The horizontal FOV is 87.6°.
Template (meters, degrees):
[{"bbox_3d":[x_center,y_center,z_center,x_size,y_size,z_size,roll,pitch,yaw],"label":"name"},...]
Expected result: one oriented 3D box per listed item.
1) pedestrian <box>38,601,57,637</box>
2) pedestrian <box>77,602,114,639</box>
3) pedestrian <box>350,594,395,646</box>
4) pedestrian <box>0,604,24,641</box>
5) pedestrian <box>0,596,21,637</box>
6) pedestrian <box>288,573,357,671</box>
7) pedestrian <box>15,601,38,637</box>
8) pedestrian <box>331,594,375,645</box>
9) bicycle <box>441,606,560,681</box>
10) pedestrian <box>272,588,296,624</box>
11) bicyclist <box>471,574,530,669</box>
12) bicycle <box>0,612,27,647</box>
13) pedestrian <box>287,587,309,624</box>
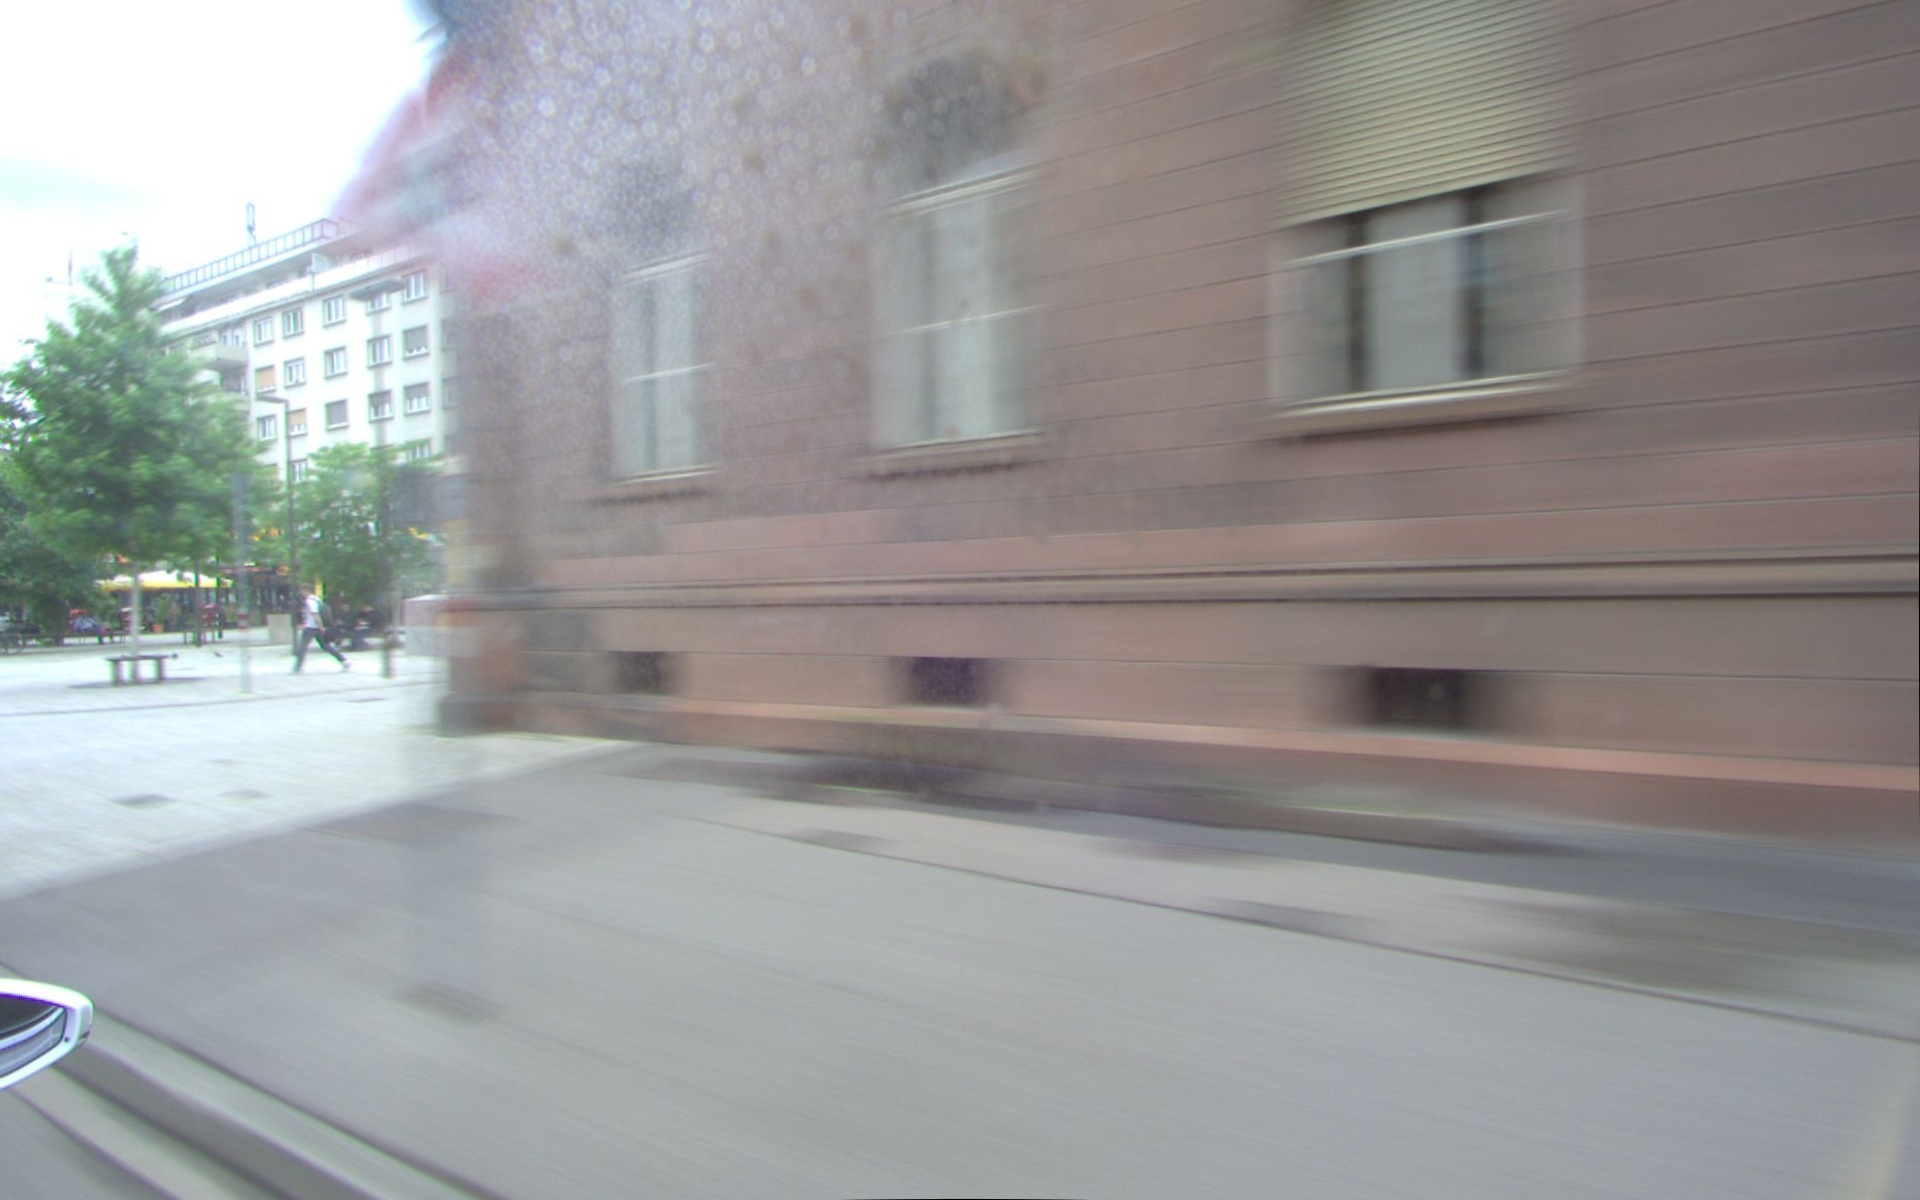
[{"bbox_3d":[-36.307,0.761,39.861,0.539,1.384,1.269,0,0,-41],"label":"pedestrian"},{"bbox_3d":[-32.897,0.765,38.098,1.388,1.384,0.627,0,0,30],"label":"pedestrian"},{"bbox_3d":[-17.331,0.573,29.554,0.753,1.476,0.779,-2,3,1],"label":"pedestrian"},{"bbox_3d":[-36.350,0.853,38.216,0.675,1.384,0.629,0,0,12],"label":"pedestrian"},{"bbox_3d":[-43.945,0.757,46.059,1.062,1.827,0.712,-1,3,30],"label":"pedestrian"},{"bbox_3d":[-12.884,0.418,20.258,0.761,1.927,0.868,0,3,29],"label":"pedestrian"},{"bbox_3d":[-36.393,0.734,39.025,0.623,1.384,0.911,0,0,-42],"label":"pedestrian"},{"bbox_3d":[-18.114,0.577,29.884,0.753,1.476,0.779,-2,3,1],"label":"pedestrian"},{"bbox_3d":[-8.378,0.764,18.333,0.518,1.277,1.926,0,1,40],"label":"bicycle"},{"bbox_3d":[-34.533,0.315,51.139,0.763,1.776,0.715,-3,3,-21],"label":"pedestrian"},{"bbox_3d":[-8.398,0.385,18.313,0.564,1.706,0.787,0,1,40],"label":"bicyclist"},{"bbox_3d":[-31.256,0.950,32.106,0.638,1.137,1.904,0,0,41],"label":"bicycle"},{"bbox_3d":[-34.693,0.309,52.459,0.763,1.910,0.850,0,0,-21],"label":"pedestrian"}]
